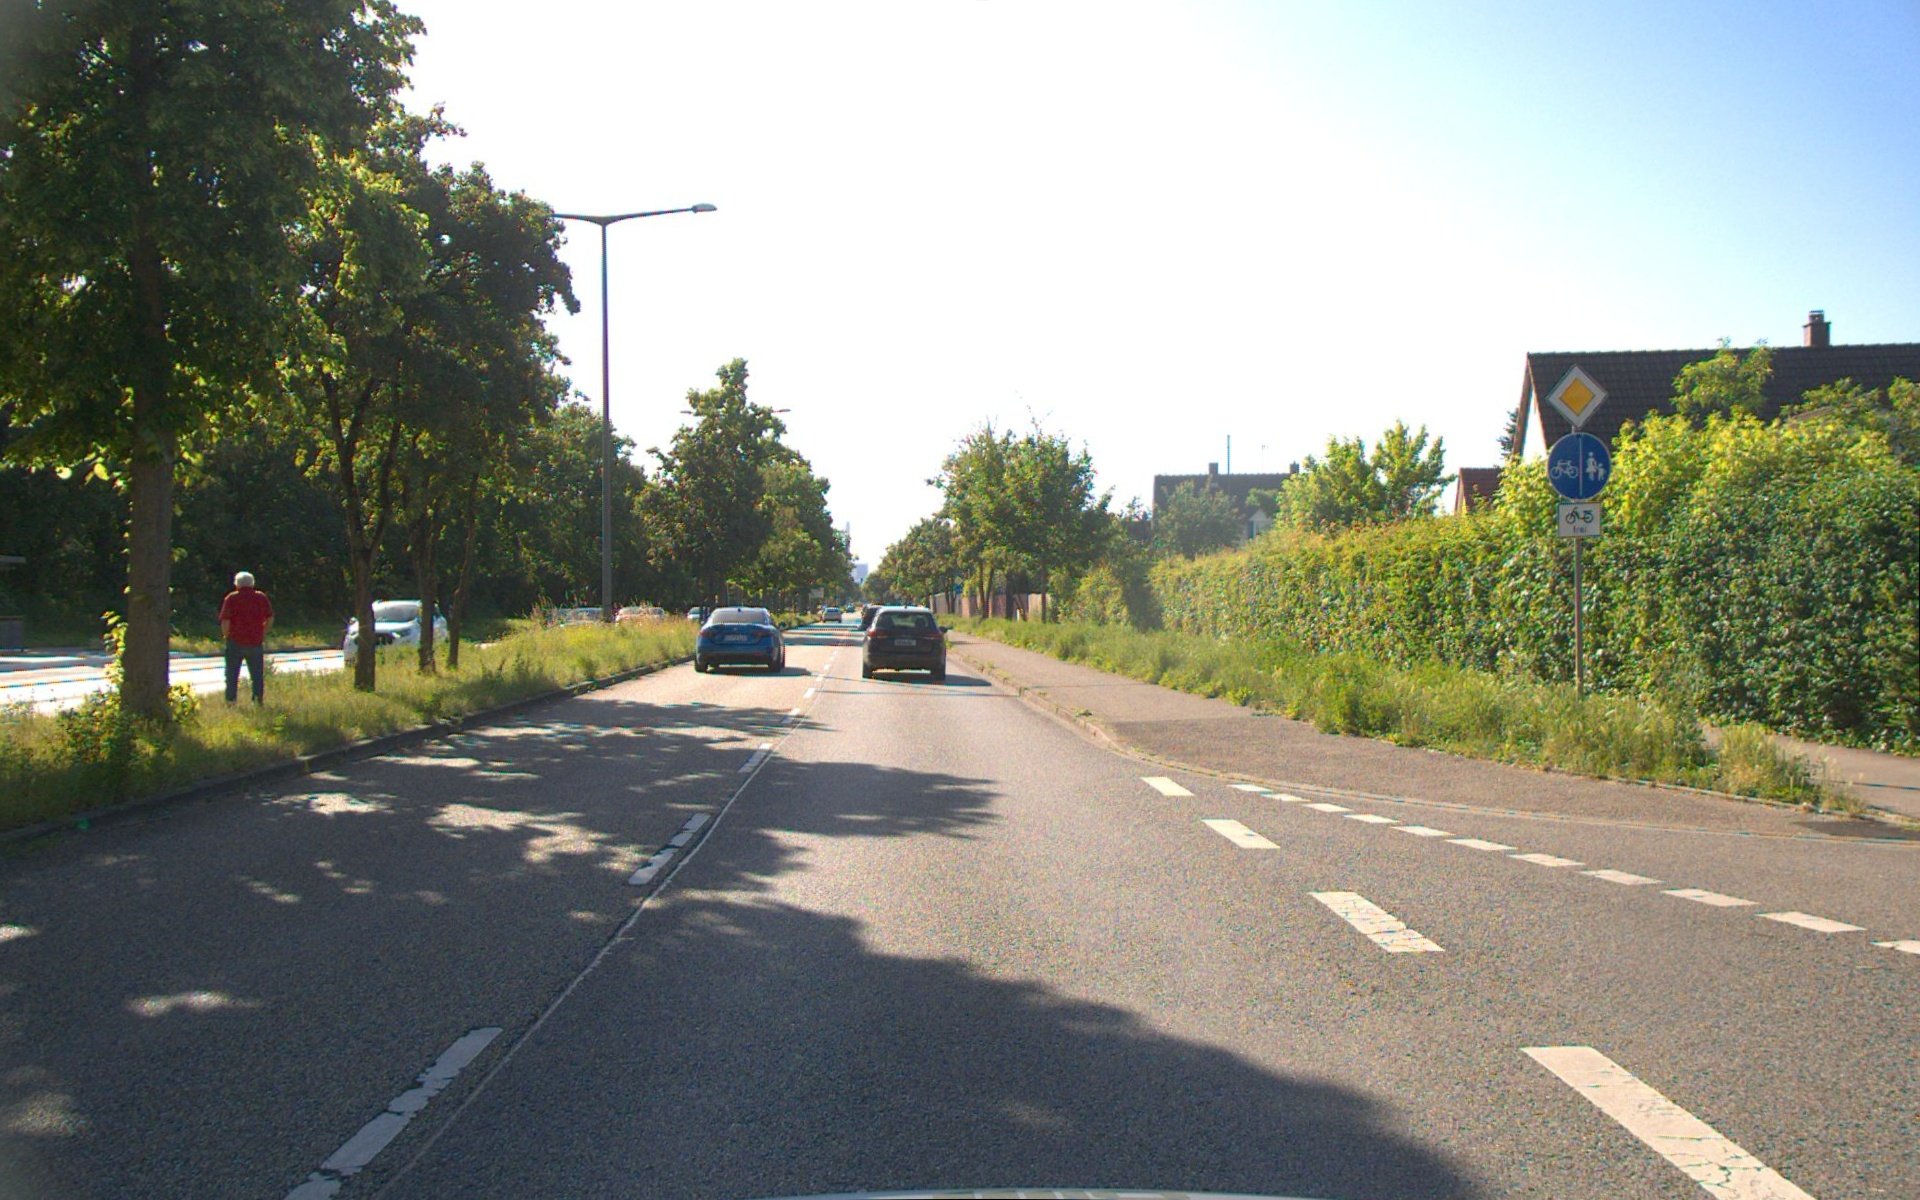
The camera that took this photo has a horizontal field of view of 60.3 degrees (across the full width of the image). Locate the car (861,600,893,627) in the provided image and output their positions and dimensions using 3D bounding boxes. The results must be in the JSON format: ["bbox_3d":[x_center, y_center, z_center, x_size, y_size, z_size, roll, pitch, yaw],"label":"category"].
[{"bbox_3d":[-5.239,0.829,104.007,1.711,1.625,4.167,0,0,-8],"label":"car"}]

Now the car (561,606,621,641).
[{"bbox_3d":[-15.467,0.972,69.536,1.747,1.385,4.975,0,0,-4],"label":"car"}]

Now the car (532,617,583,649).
[{"bbox_3d":[-20.307,1.665,83.612,1.770,1.526,4.591,0,0,-5],"label":"car"}]

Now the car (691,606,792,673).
[{"bbox_3d":[-4.895,0.858,37.520,1.955,1.429,3.998,0,0,-3],"label":"car"}]

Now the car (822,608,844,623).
[{"bbox_3d":[-12.325,1.491,160.064,1.941,1.465,3.994,0,0,-7],"label":"car"}]

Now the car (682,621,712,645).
[{"bbox_3d":[-18.648,2.306,117.487,1.679,1.630,4.355,0,-1,-4],"label":"car"}]

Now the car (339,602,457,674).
[{"bbox_3d":[-13.780,0.899,40.804,1.696,1.660,4.194,-1,0,-4],"label":"car"}]

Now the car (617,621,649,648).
[{"bbox_3d":[-21.287,2.250,107.865,1.573,1.590,3.996,-2,0,-5],"label":"car"}]

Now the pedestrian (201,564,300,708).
[{"bbox_3d":[-8.783,0.434,20.490,0.618,1.726,0.942,0,0,27],"label":"pedestrian"}]

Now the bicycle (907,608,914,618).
[{"bbox_3d":[-4.522,1.200,150.846,0.642,0.908,1.873,0,0,-4],"label":"bicycle"}]

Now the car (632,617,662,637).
[{"bbox_3d":[-23.175,2.008,122.599,1.802,1.438,3.996,0,0,-5],"label":"car"}]

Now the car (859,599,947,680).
[{"bbox_3d":[-1.228,0.822,35.373,1.725,1.586,3.998,2,-1,-2],"label":"car"}]
